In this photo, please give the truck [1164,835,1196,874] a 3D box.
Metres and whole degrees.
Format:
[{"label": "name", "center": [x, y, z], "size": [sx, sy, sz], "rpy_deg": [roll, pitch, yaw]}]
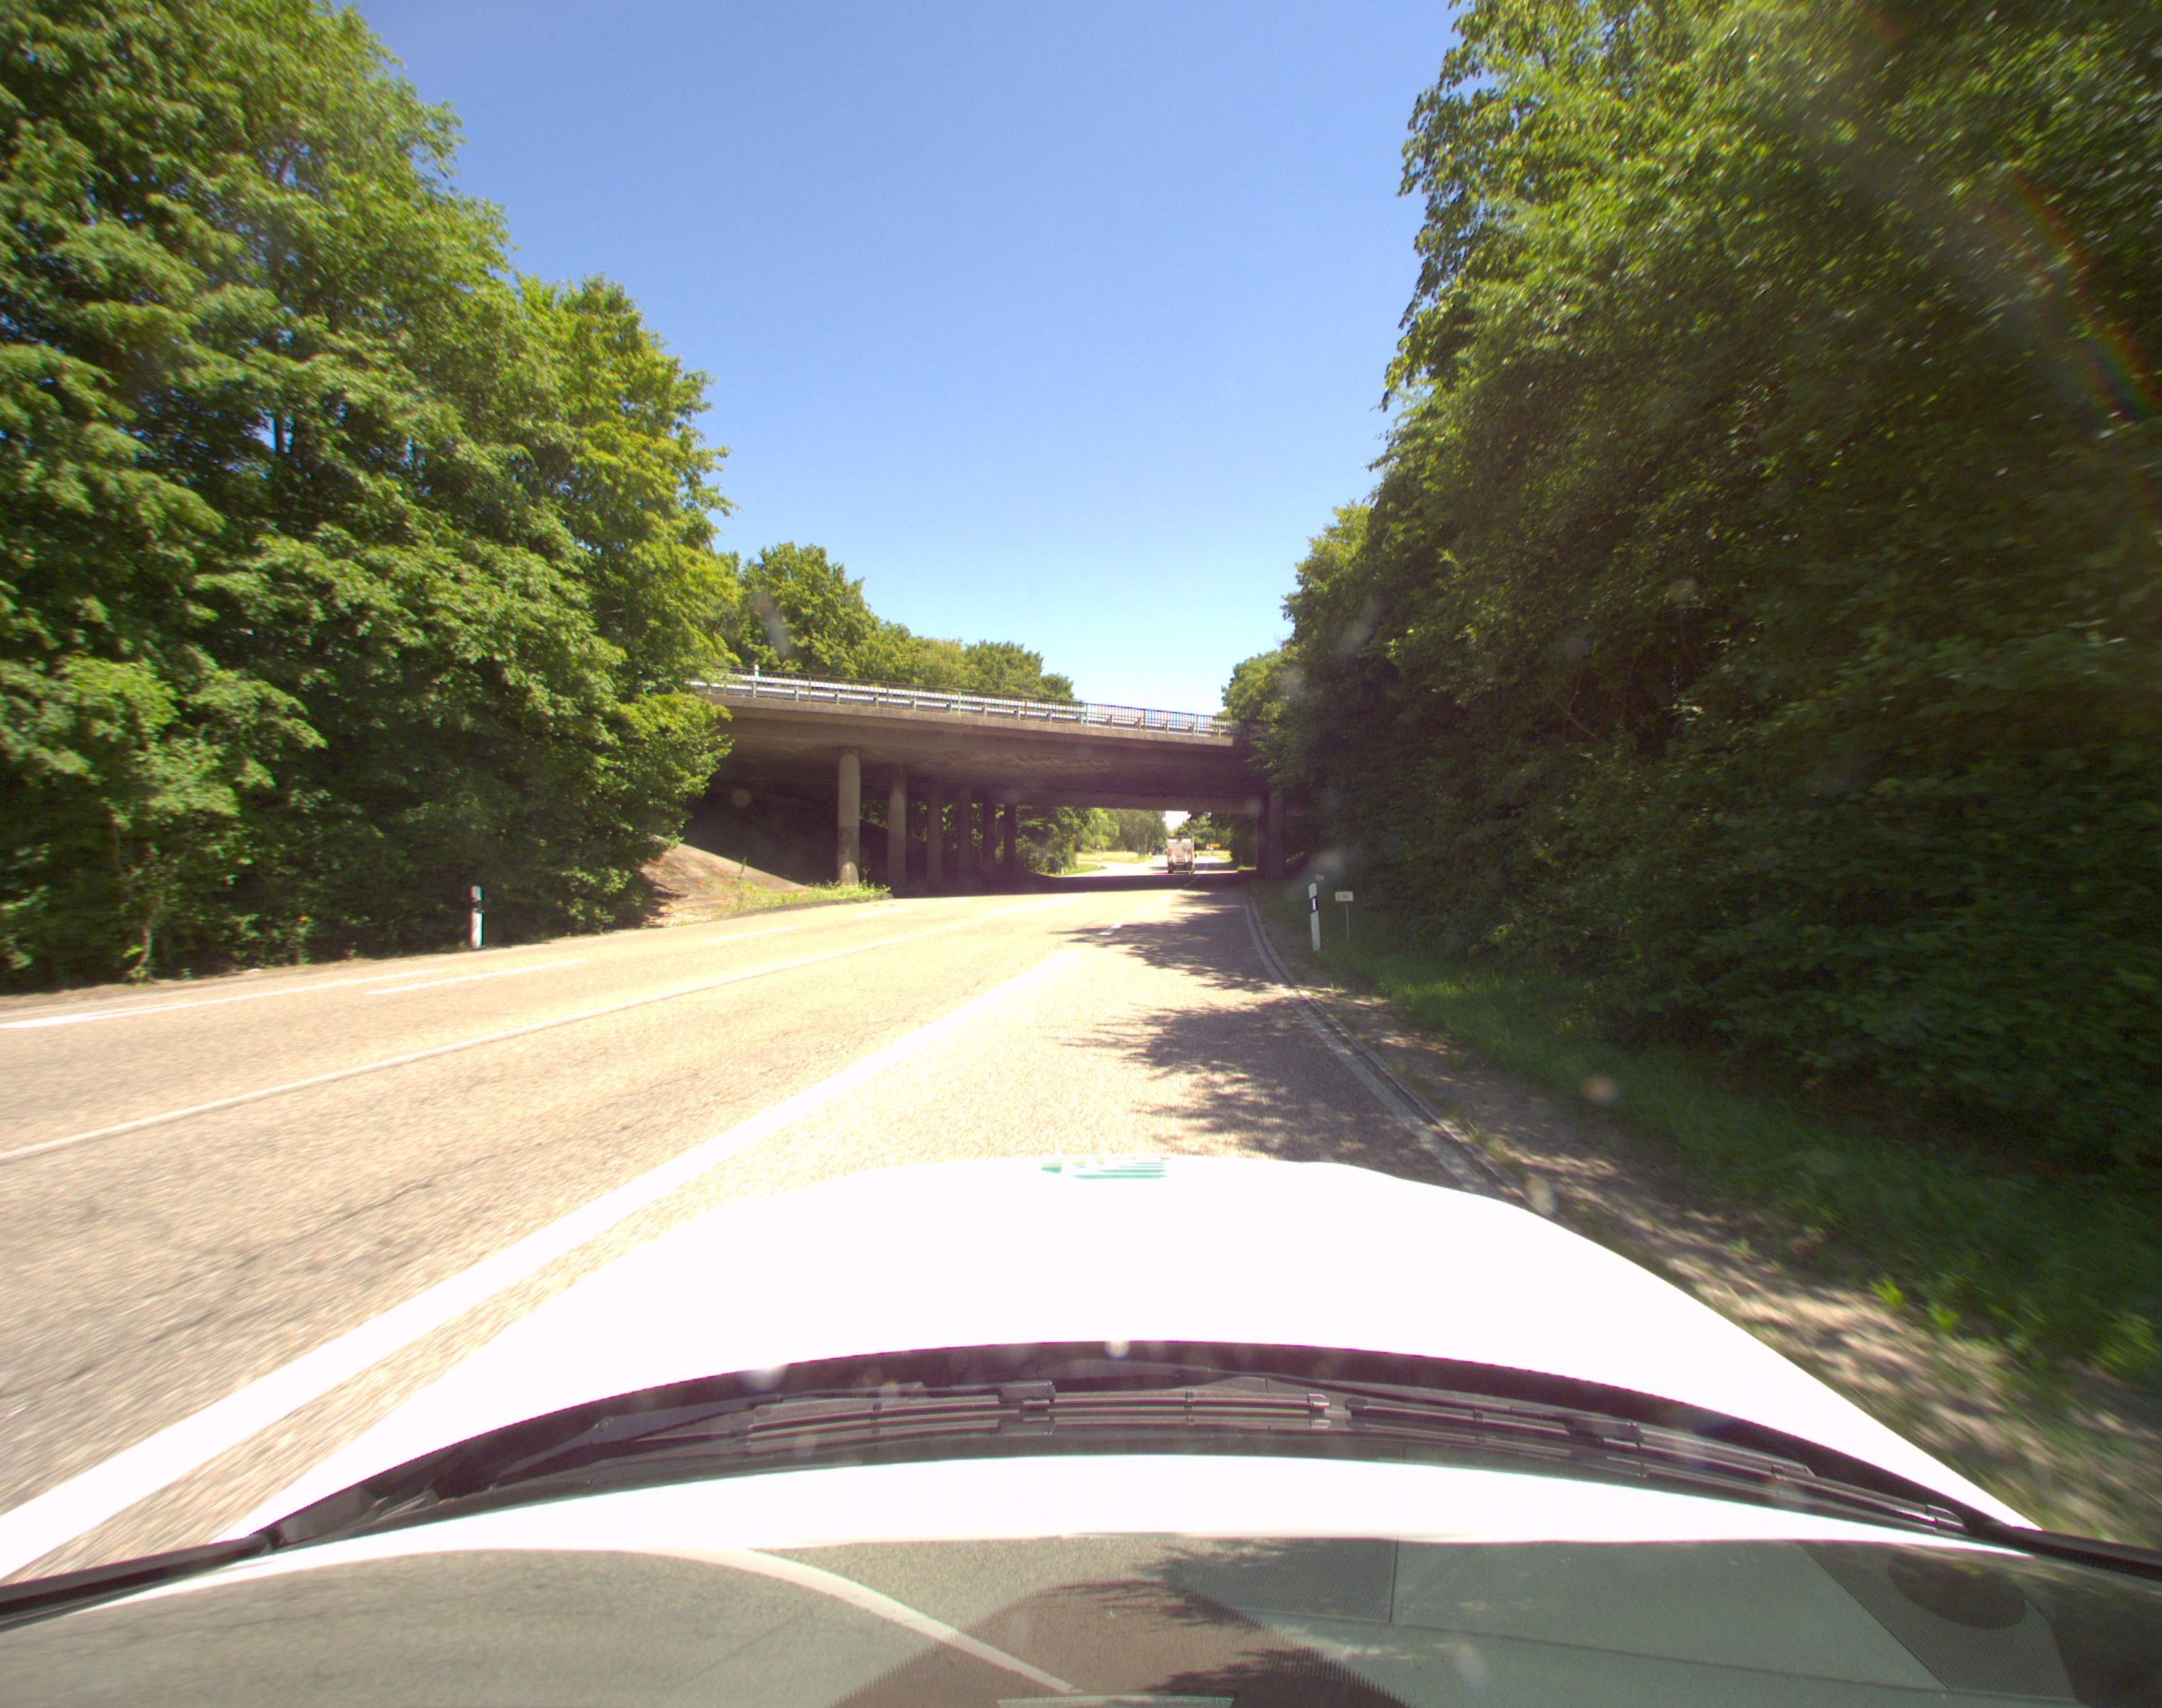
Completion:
[{"label": "truck", "center": [8.088, 0.081, 66.124], "size": [2.227, 2.985, 5.910], "rpy_deg": [0, -1, 10]}]
